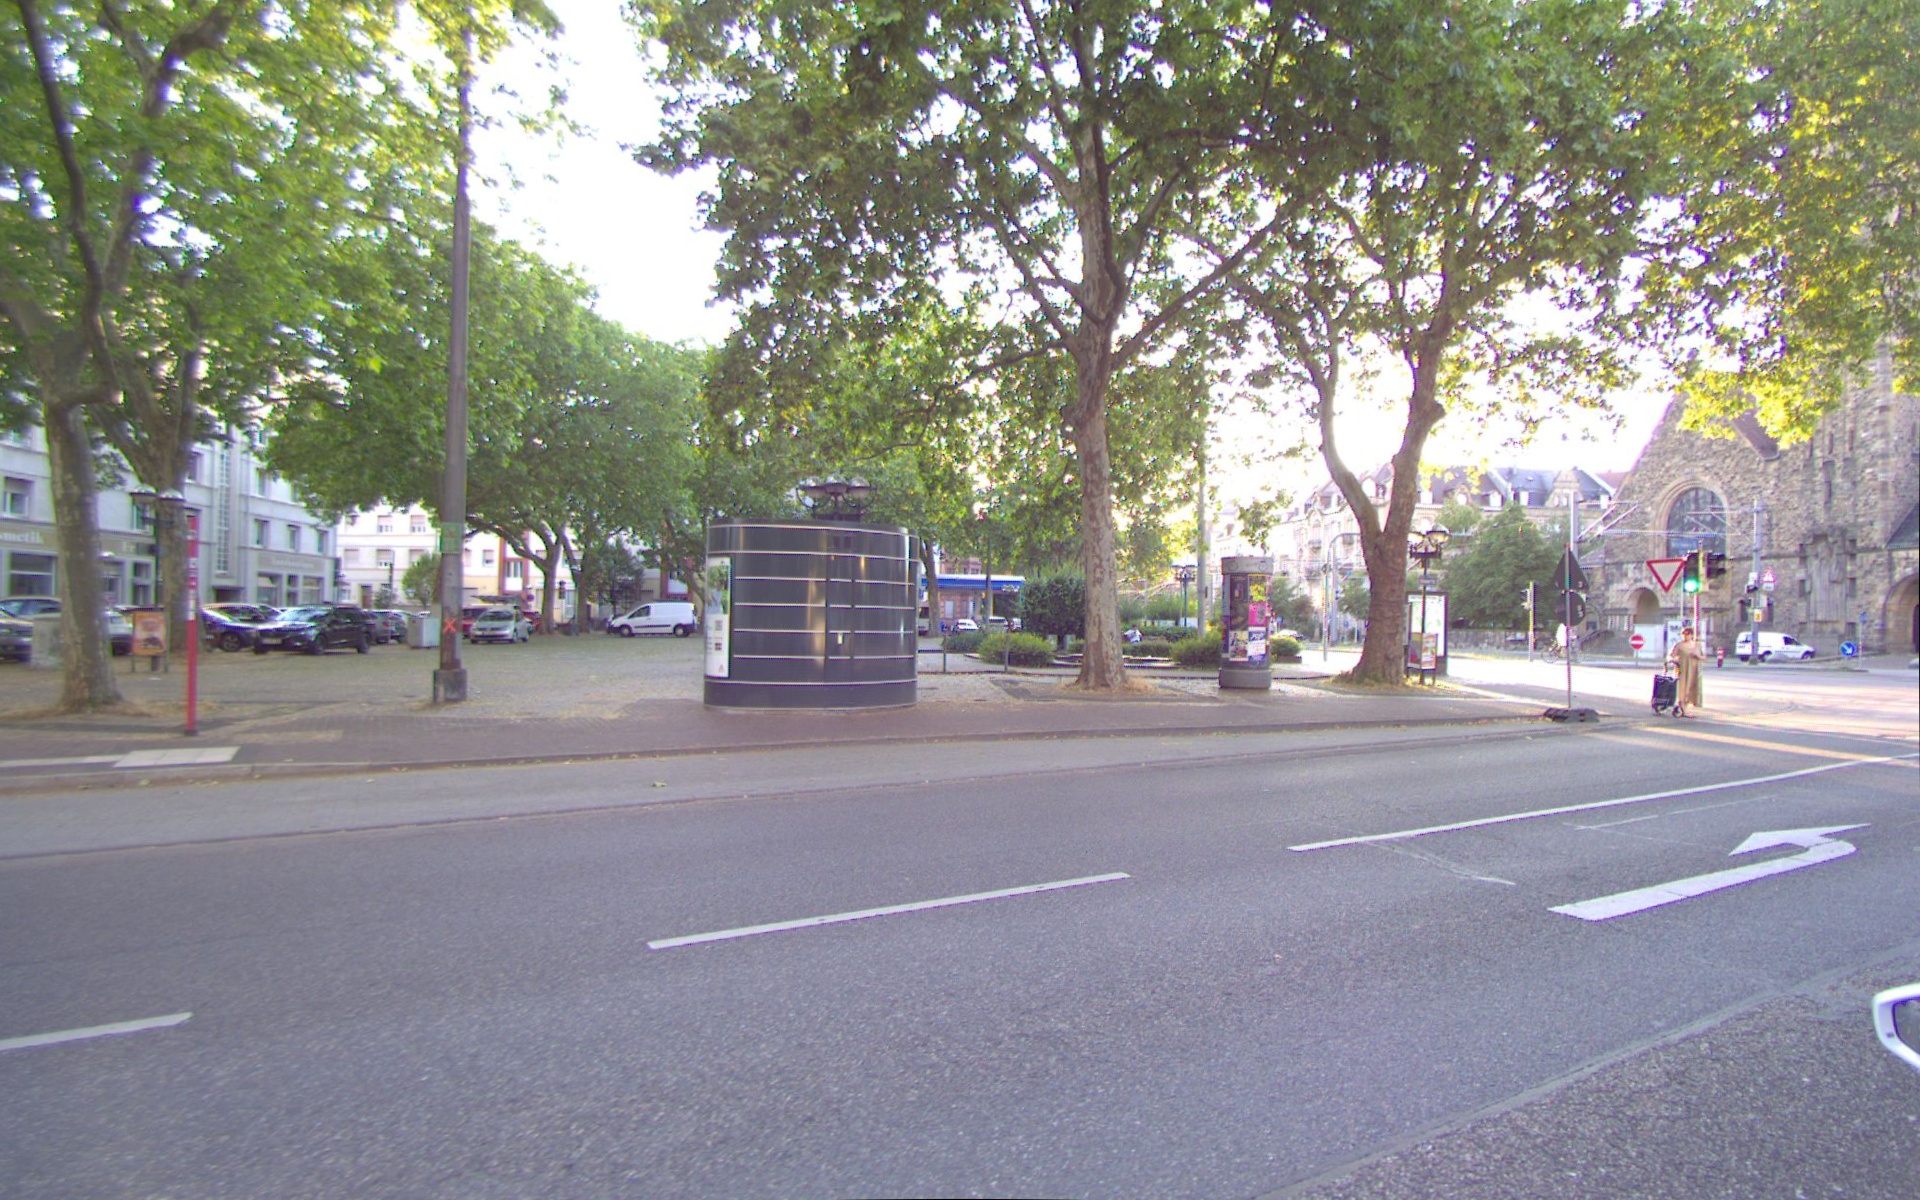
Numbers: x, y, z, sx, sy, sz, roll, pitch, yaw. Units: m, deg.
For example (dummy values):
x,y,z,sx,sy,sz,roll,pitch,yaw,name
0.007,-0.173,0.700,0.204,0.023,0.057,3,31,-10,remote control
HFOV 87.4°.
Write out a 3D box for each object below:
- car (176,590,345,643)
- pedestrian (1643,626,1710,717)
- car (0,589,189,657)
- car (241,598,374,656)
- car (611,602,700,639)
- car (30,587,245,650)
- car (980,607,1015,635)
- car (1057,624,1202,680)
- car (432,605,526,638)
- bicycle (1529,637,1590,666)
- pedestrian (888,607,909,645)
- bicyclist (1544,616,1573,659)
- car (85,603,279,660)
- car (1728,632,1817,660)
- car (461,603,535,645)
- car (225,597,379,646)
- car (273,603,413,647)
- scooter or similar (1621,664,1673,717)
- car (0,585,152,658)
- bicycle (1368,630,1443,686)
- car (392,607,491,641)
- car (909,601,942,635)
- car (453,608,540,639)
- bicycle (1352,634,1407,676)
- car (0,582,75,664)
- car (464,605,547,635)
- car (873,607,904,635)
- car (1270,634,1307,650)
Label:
x,y,z,sx,sy,sz,roll,pitch,yaw,name
-25.254,0.610,36.446,4.557,1.805,2.090,0,-2,-10,car
13.562,1.334,19.019,0.766,1.649,0.796,2,0,-35,pedestrian
-24.551,0.646,27.866,4.557,1.805,1.997,0,-2,-10,car
-19.370,0.811,30.034,1.642,1.549,3.760,2,-2,-4,car
-17.011,1.163,56.375,4.557,1.964,1.997,0,-2,-10,car
-24.600,0.557,30.223,4.557,1.805,1.997,0,-2,-10,car
2.689,1.516,73.253,1.882,1.873,3.995,2,-1,-7,car
5.790,1.777,34.611,4.552,1.805,1.999,0,-2,-5,car
-27.375,1.206,57.335,4.578,1.834,1.992,0,-2,-20,car
26.114,2.240,43.768,2.200,1.092,0.659,2,2,3,bicycle
-2.851,1.195,46.438,0.869,1.694,0.740,2,0,-8,pedestrian
26.064,1.626,43.757,0.842,1.852,0.659,0,1,3,bicyclist
-25.263,1.014,32.801,4.557,1.758,1.997,0,-2,-10,car
50.799,2.876,62.855,4.372,1.537,1.718,2,0,-6,car
-19.943,1.031,43.515,1.642,1.684,3.760,2,-1,-4,car
-25.446,0.852,39.033,4.557,1.805,1.997,0,-2,-10,car
-25.761,1.065,42.125,4.557,1.758,1.997,0,-2,-10,car
12.771,1.666,18.669,0.845,0.910,0.586,2,-1,-41,scooter or similar
-23.828,0.568,25.625,4.557,1.805,1.997,0,-2,-10,car
11.175,1.455,25.172,1.967,1.344,0.523,2,0,-26,bicycle
-27.954,1.298,54.338,4.572,1.758,1.990,0,-2,-22,car
-2.535,1.278,72.496,1.963,2.374,3.995,2,-1,-7,car
-27.540,1.395,59.860,4.572,1.758,1.990,0,-2,-22,car
11.789,1.548,28.200,1.780,1.107,0.455,2,-1,-33,bicycle
-23.270,0.551,22.654,4.557,1.805,1.997,0,-2,-10,car
-28.125,1.248,62.329,4.572,1.758,1.990,0,-2,-22,car
-5.174,1.491,72.249,1.882,1.873,3.995,2,-1,-7,car
34.808,4.471,106.621,1.966,1.639,3.991,1,-2,-13,car
